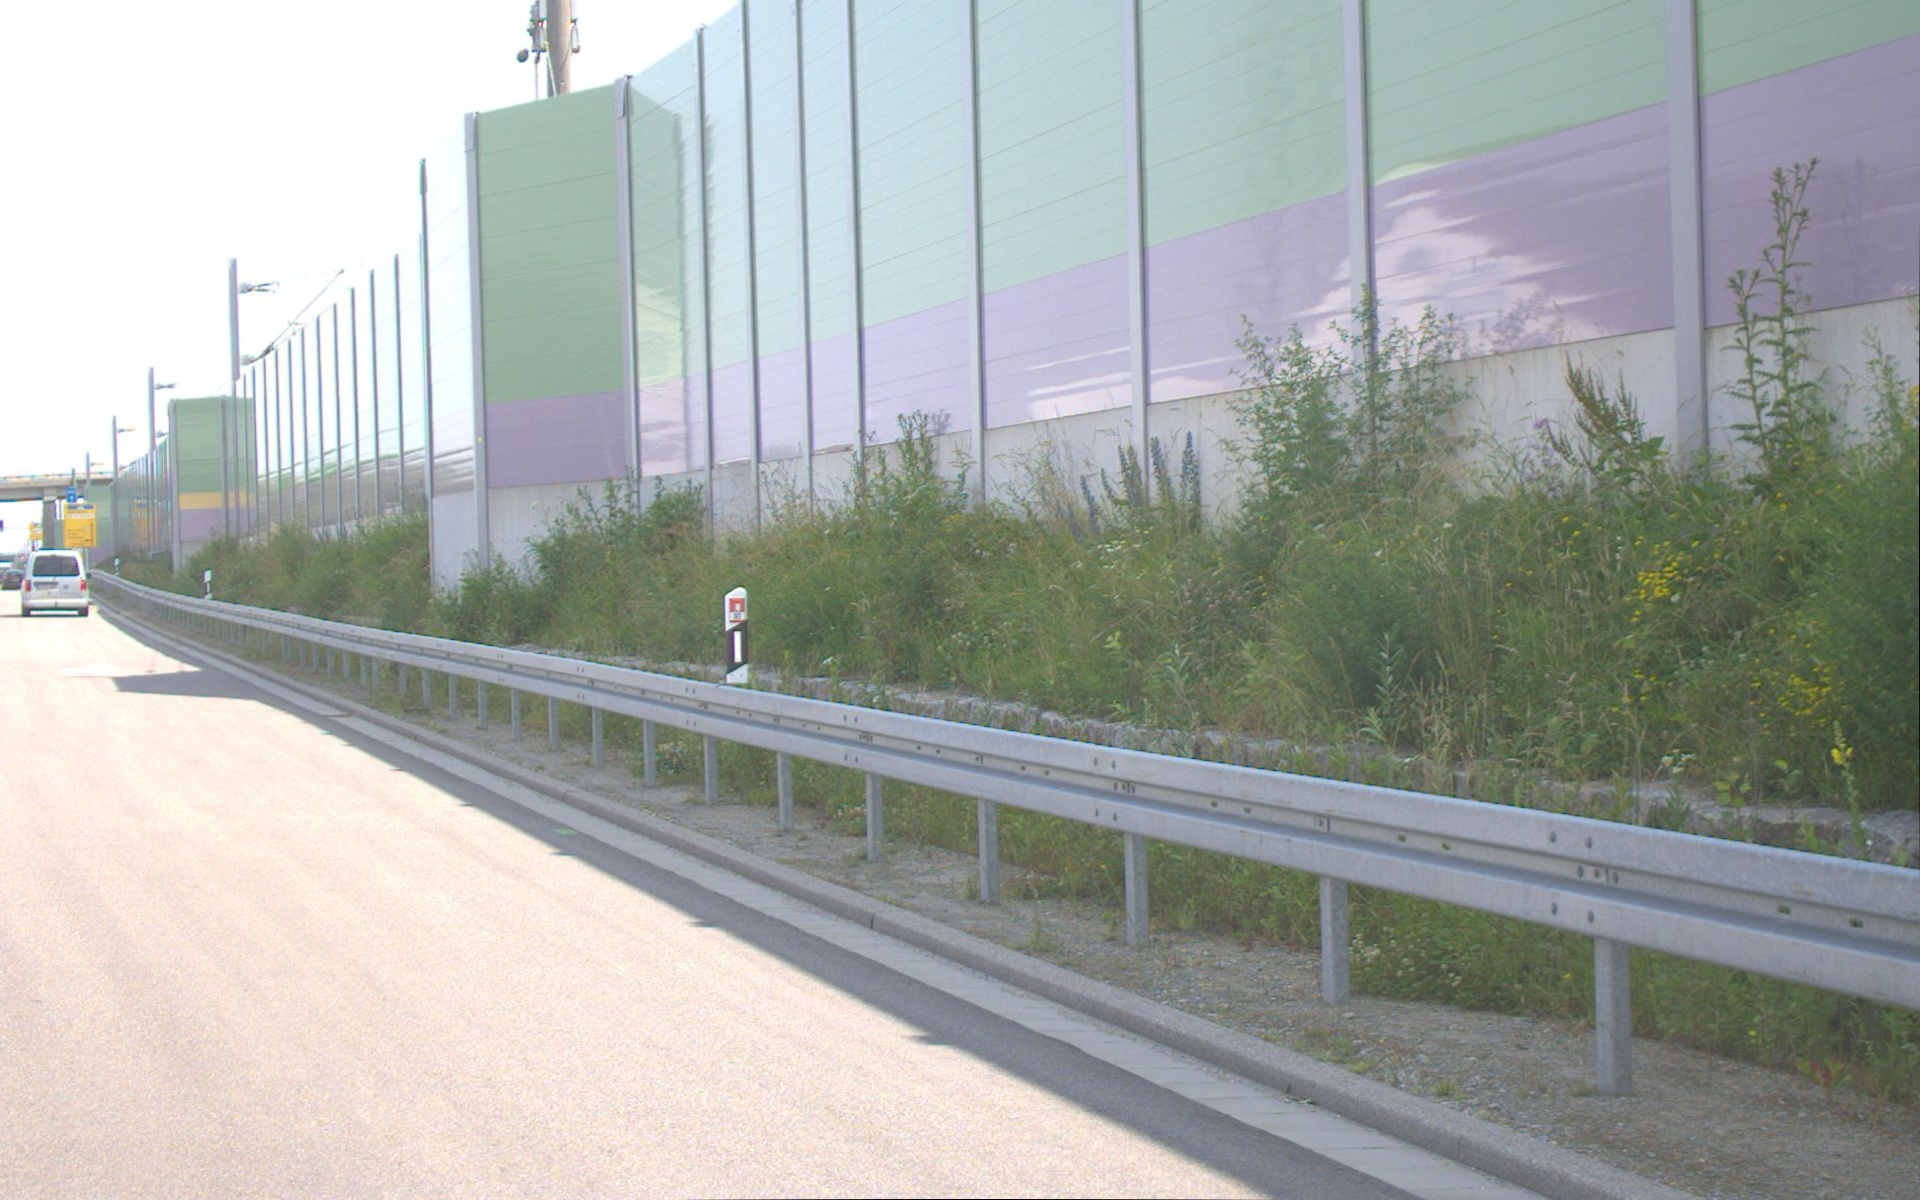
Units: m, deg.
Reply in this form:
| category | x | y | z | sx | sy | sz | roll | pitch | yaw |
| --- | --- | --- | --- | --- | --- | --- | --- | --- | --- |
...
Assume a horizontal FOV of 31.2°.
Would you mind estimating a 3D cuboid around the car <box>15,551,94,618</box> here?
| category | x | y | z | sx | sy | sz | roll | pitch | yaw |
| --- | --- | --- | --- | --- | --- | --- | --- | --- | --- |
| car | -24.872 | -0.435 | 94.507 | 1.993 | 1.751 | 4.001 | -2 | 1 | -14 |
